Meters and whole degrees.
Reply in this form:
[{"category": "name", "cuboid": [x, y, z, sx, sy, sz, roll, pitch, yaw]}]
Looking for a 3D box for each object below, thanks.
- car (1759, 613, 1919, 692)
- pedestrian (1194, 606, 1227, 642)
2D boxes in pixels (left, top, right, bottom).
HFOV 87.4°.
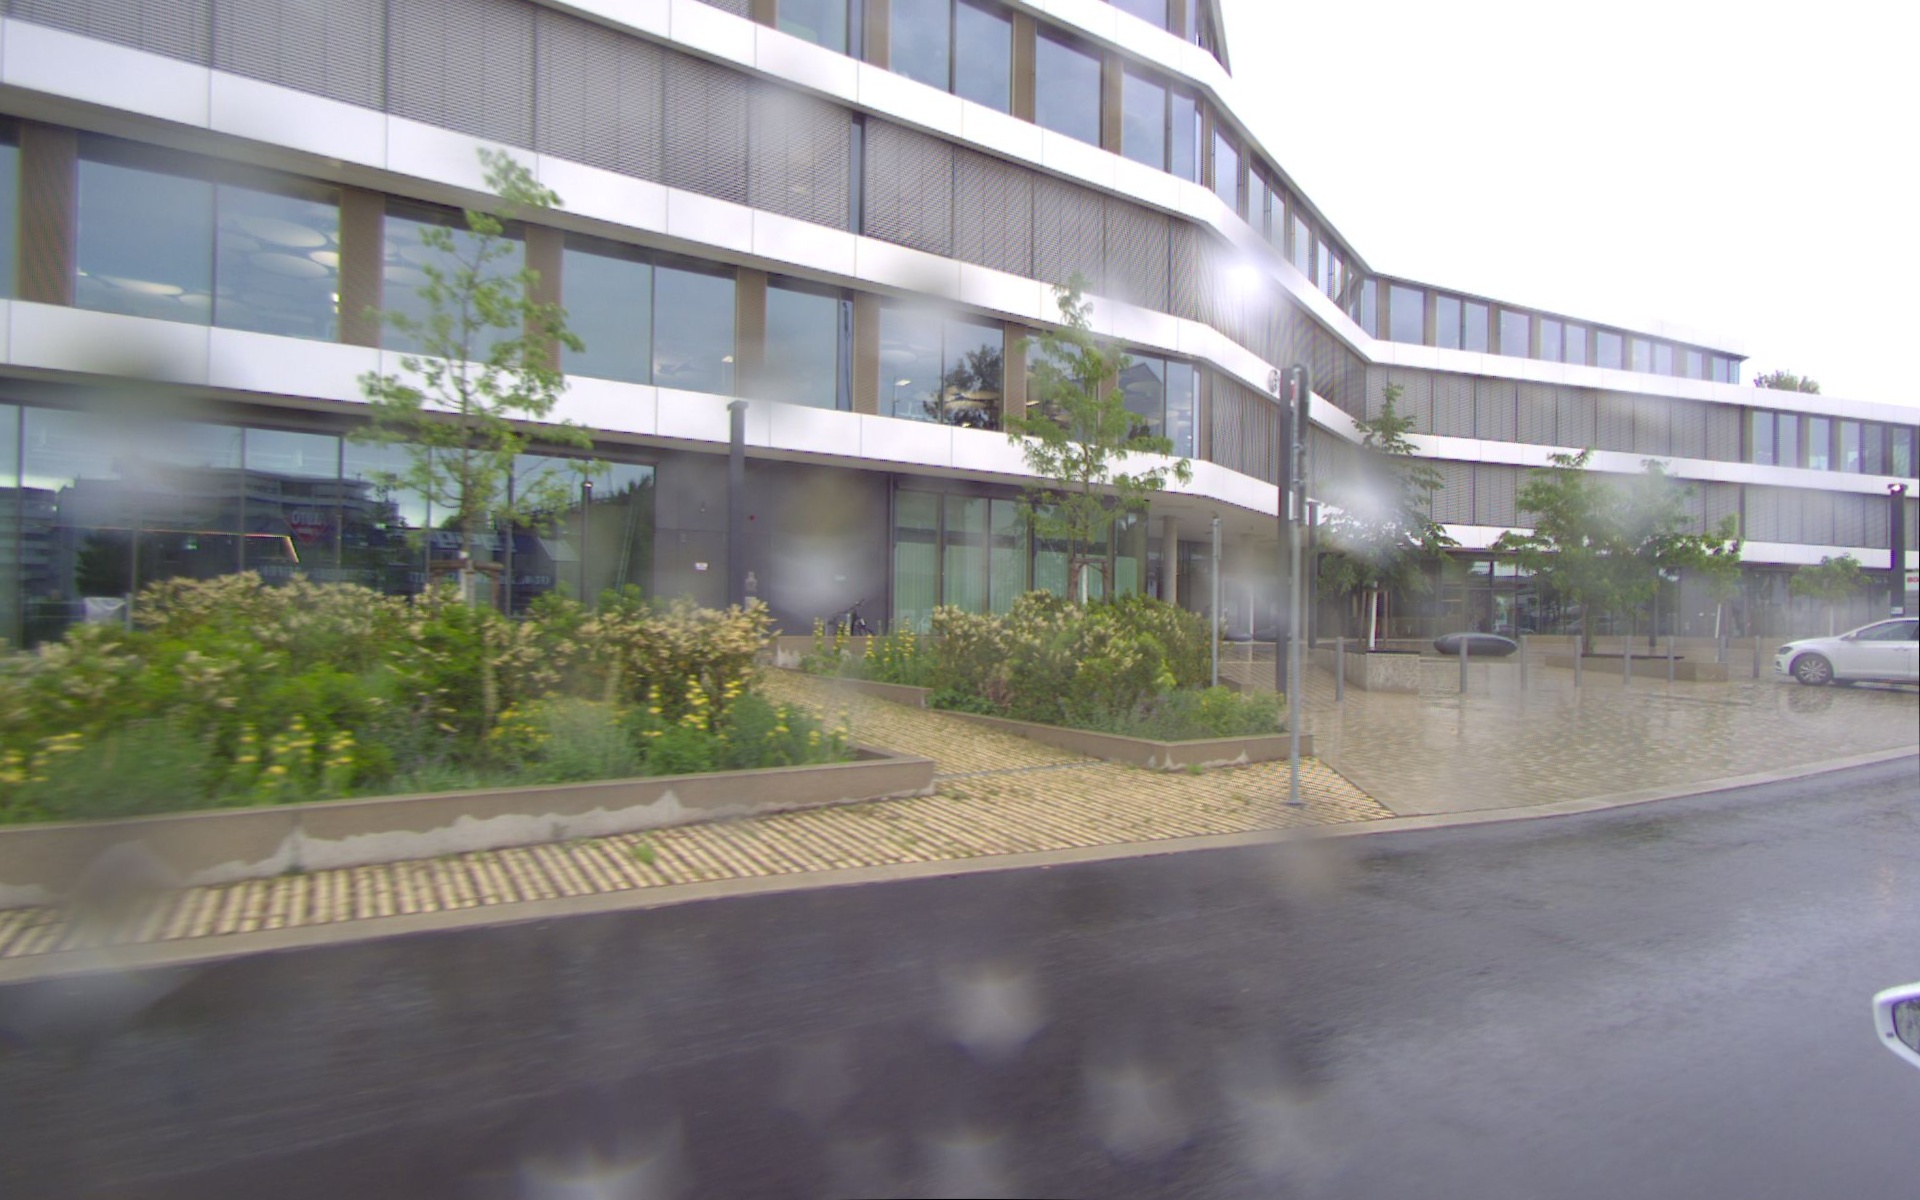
[{"category": "car", "cuboid": [18.143, 0.990, 19.366, 1.876, 1.442, 3.909, 1, -1, -30]}, {"category": "pedestrian", "cuboid": [9.861, 0.923, 39.524, 0.883, 1.332, 1.059, 5, 2, 31]}]
